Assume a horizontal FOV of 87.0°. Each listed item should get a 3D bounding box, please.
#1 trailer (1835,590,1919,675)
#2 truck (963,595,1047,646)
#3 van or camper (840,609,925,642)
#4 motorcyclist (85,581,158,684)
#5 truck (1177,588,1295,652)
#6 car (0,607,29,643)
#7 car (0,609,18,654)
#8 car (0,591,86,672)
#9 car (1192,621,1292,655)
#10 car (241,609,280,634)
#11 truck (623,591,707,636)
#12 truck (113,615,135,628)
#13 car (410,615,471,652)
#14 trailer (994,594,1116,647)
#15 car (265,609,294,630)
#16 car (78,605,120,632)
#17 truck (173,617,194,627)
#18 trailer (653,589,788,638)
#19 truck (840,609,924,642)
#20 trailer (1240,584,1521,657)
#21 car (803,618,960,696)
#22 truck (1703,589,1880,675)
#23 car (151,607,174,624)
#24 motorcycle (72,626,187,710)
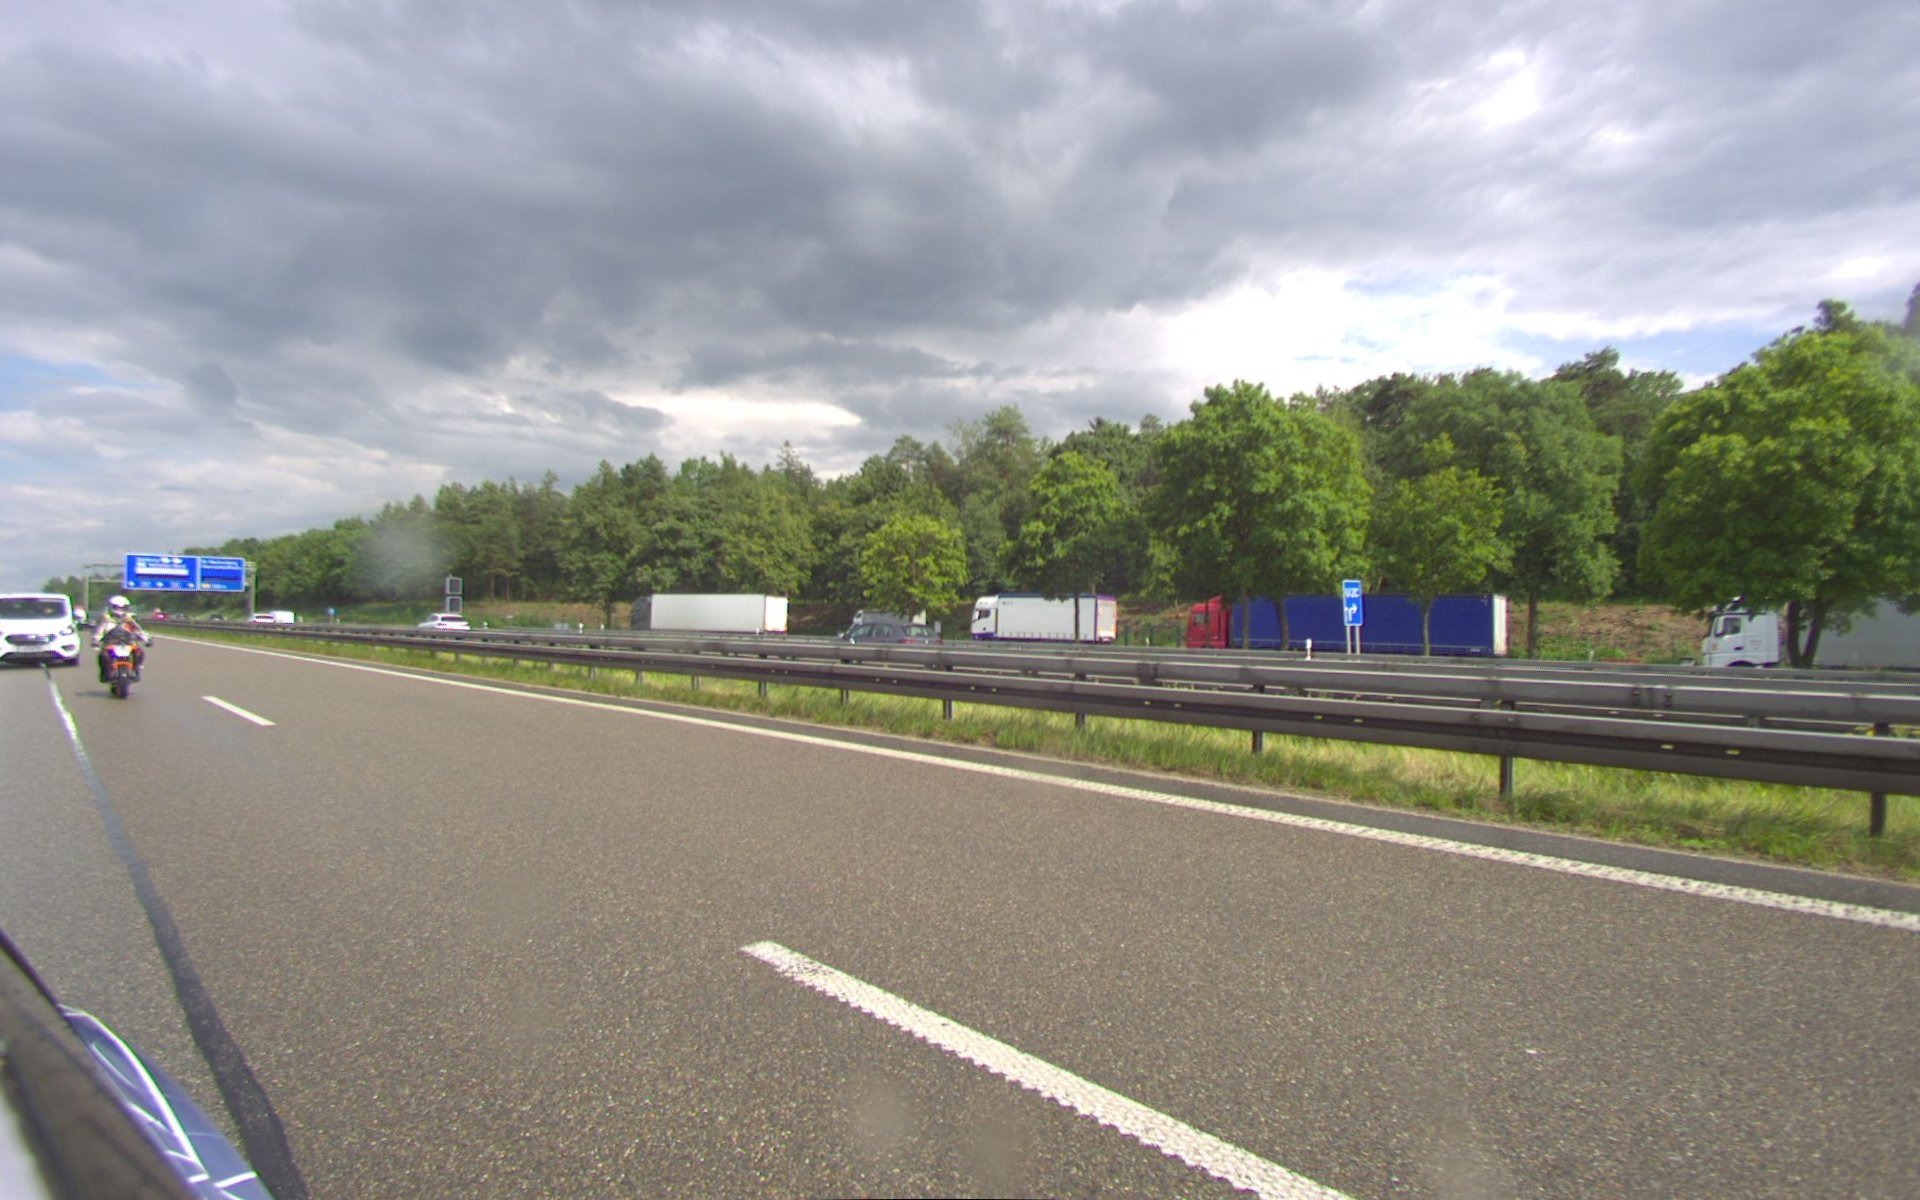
[{"bbox_3d":[40.191,1.227,36.817,3.309,3.241,12.481,1,-1,-45],"label":"trailer"},{"bbox_3d":[3.014,1.306,67.935,5.077,3.292,2.630,0,0,37],"label":"truck"},{"bbox_3d":[-5.769,1.841,74.560,6.307,2.282,2.101,0,0,34],"label":"van or camper"},{"bbox_3d":[-14.549,0.530,17.556,1.001,1.719,0.871,0,0,44],"label":"motorcyclist"},{"bbox_3d":[15.815,1.099,58.133,5.892,3.482,2.832,0,0,40],"label":"truck"},{"bbox_3d":[-57.552,1.485,61.172,1.808,2.060,4.784,-1,0,-43],"label":"car"},{"bbox_3d":[-46.247,1.480,48.353,1.808,2.060,4.784,-1,0,-43],"label":"car"},{"bbox_3d":[-25.756,0.794,27.885,2.316,2.060,5.148,-1,1,-43],"label":"car"},{"bbox_3d":[18.612,2.446,66.991,6.125,2.029,1.974,0,0,39],"label":"car"},{"bbox_3d":[-54.960,1.666,79.458,1.808,1.905,4.784,-1,0,-43],"label":"car"},{"bbox_3d":[-25.411,1.123,87.114,6.896,3.732,3.182,0,0,33],"label":"truck"},{"bbox_3d":[-125.796,3.208,152.276,2.230,1.909,5.452,-1,1,-43],"label":"truck"},{"bbox_3d":[-29.266,1.839,56.922,1.808,1.905,4.784,-1,0,-43],"label":"car"},{"bbox_3d":[6.088,1.283,65.694,7.729,3.257,2.555,0,-1,37],"label":"trailer"},{"bbox_3d":[-71.179,1.987,105.834,1.808,2.060,4.784,-1,0,-43],"label":"car"},{"bbox_3d":[-69.633,1.495,81.802,2.316,2.060,5.148,-1,1,-43],"label":"car"},{"bbox_3d":[-105.198,2.975,137.112,1.866,1.203,4.004,-1,1,-43],"label":"truck"},{"bbox_3d":[-19.898,1.118,83.540,12.533,3.767,3.178,0,-1,33],"label":"trailer"},{"bbox_3d":[-5.803,1.841,74.654,6.302,2.282,2.101,0,0,34],"label":"truck"},{"bbox_3d":[21.641,1.040,53.184,13.416,3.430,2.794,-1,-1,40],"label":"trailer"},{"bbox_3d":[-2.296,1.510,28.371,1.808,1.905,4.784,-1,0,-43],"label":"car"},{"bbox_3d":[34.685,1.226,42.291,5.508,3.297,3.316,0,0,43],"label":"truck"},{"bbox_3d":[-98.462,1.893,124.960,1.808,2.060,4.784,-1,0,-43],"label":"car"},{"bbox_3d":[-14.418,1.111,17.520,3.195,1.235,1.171,0,0,44],"label":"motorcycle"}]
